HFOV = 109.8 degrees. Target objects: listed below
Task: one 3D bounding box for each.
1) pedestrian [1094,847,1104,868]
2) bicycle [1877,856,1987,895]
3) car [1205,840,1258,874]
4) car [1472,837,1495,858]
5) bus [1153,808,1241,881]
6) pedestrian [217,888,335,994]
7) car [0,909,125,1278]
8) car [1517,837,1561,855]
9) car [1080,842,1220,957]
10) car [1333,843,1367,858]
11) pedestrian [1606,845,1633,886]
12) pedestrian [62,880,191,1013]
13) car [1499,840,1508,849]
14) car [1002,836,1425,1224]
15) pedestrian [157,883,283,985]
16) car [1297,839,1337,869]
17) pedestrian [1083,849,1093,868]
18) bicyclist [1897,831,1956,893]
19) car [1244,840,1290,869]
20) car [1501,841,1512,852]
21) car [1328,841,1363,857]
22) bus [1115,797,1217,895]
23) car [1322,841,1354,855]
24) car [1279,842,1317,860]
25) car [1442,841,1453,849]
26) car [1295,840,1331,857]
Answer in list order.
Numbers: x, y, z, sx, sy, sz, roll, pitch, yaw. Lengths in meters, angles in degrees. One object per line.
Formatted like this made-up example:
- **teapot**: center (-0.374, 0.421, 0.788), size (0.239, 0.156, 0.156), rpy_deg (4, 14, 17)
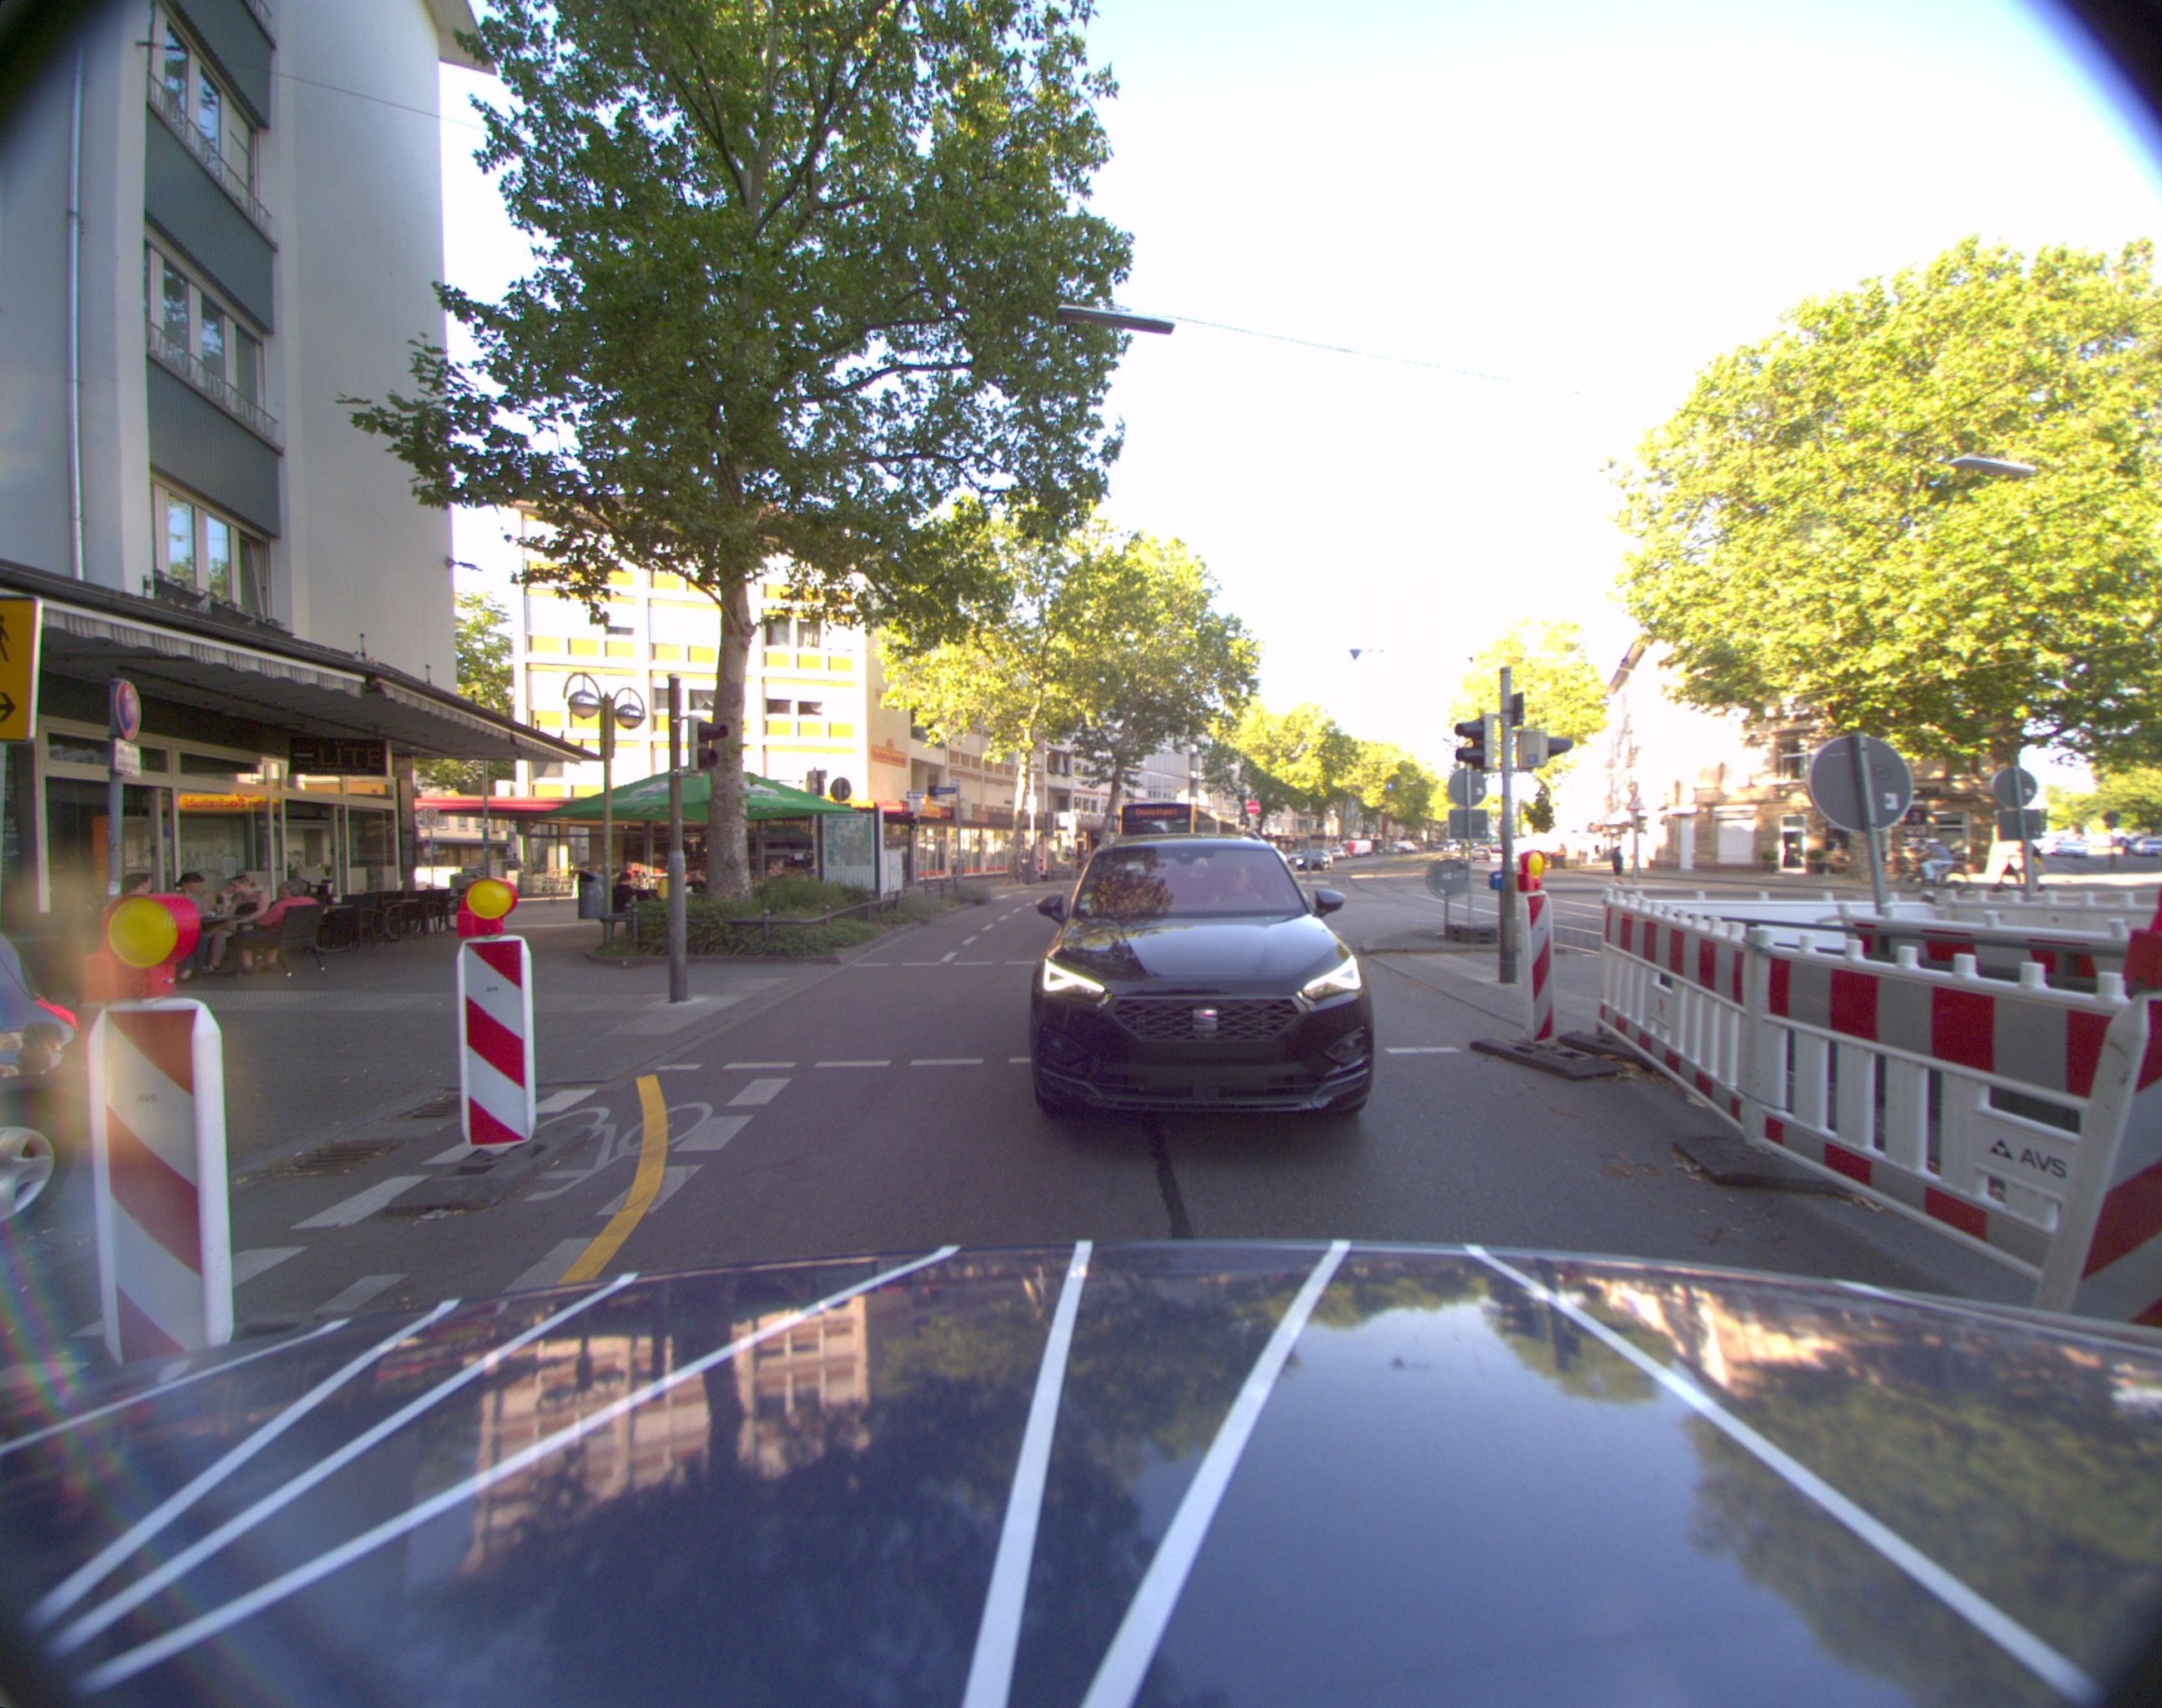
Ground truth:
- **pedestrian**: center (1.380, 0.294, 58.069), size (0.627, 1.577, 0.532), rpy_deg (0, 1, 20)
- **bicycle**: center (27.980, 0.678, 25.055), size (0.851, 1.186, 2.465), rpy_deg (-1, 1, -1)
- **car**: center (9.162, 0.149, 45.989), size (1.995, 2.002, 4.105), rpy_deg (0, 1, 29)
- **car**: center (40.898, -0.671, 77.177), size (1.994, 2.002, 4.007), rpy_deg (0, 1, 29)
- **bus**: center (5.838, -0.439, 36.721), size (2.717, 3.088, 8.608), rpy_deg (0, 1, 19)
- **pedestrian**: center (-9.838, 1.028, 9.297), size (0.877, 1.186, 0.701), rpy_deg (0, 1, 24)
- **car**: center (-5.229, 0.982, 1.651), size (1.771, 1.459, 3.610), rpy_deg (2, 0, -2)
- **car**: center (52.380, -0.959, 86.885), size (4.001, 2.002, 1.997), rpy_deg (-1, 1, -13)
- **car**: center (1.014, 0.639, 12.952), size (1.998, 1.634, 4.075), rpy_deg (-1, 1, 1)
- **car**: center (36.509, -0.462, 103.322), size (3.994, 2.002, 2.001), rpy_deg (-1, 1, 8)
- **pedestrian**: center (20.302, 0.429, 28.652), size (0.603, 1.524, 0.745), rpy_deg (0, 1, 12)
- **pedestrian**: center (-10.172, 0.947, 8.109), size (0.789, 1.299, 0.701), rpy_deg (0, 1, 28)
- **car**: center (87.626, -2.006, 157.573), size (1.686, 1.737, 4.007), rpy_deg (0, 1, 29)
- **car**: center (0.609, 0.758, 5.326), size (1.841, 1.696, 4.000), rpy_deg (-1, 1, 1)
- **pedestrian**: center (-10.825, 0.983, 9.576), size (0.647, 1.186, 0.792), rpy_deg (0, 1, 7)
- **car**: center (16.551, -0.038, 53.224), size (1.995, 2.002, 4.007), rpy_deg (0, 1, 27)
- **pedestrian**: center (0.554, 0.348, 58.457), size (0.627, 1.429, 0.532), rpy_deg (0, 1, 20)
- **bicyclist**: center (27.976, 0.260, 25.164), size (0.855, 2.002, 0.983), rpy_deg (-1, 1, 0)
- **car**: center (13.487, 0.021, 54.955), size (1.994, 2.002, 4.008), rpy_deg (0, 1, 33)
- **car**: center (75.402, -1.329, 134.778), size (1.686, 1.841, 4.007), rpy_deg (0, 1, 29)
- **car**: center (34.183, -0.654, 98.359), size (3.994, 2.002, 2.001), rpy_deg (-1, 1, 8)
- **bus**: center (3.433, -0.291, 28.279), size (2.718, 3.088, 8.629), rpy_deg (0, 1, 13)
- **car**: center (36.426, -0.847, 107.604), size (3.994, 2.002, 2.001), rpy_deg (-1, 1, 8)
- **car**: center (24.357, -0.363, 85.113), size (3.991, 2.002, 2.003), rpy_deg (0, 1, 18)
- **car**: center (83.929, -2.037, 173.940), size (1.836, 1.692, 4.138), rpy_deg (0, 1, 31)
- **car**: center (28.243, -0.669, 92.581), size (3.994, 2.002, 2.001), rpy_deg (-1, 1, 8)
